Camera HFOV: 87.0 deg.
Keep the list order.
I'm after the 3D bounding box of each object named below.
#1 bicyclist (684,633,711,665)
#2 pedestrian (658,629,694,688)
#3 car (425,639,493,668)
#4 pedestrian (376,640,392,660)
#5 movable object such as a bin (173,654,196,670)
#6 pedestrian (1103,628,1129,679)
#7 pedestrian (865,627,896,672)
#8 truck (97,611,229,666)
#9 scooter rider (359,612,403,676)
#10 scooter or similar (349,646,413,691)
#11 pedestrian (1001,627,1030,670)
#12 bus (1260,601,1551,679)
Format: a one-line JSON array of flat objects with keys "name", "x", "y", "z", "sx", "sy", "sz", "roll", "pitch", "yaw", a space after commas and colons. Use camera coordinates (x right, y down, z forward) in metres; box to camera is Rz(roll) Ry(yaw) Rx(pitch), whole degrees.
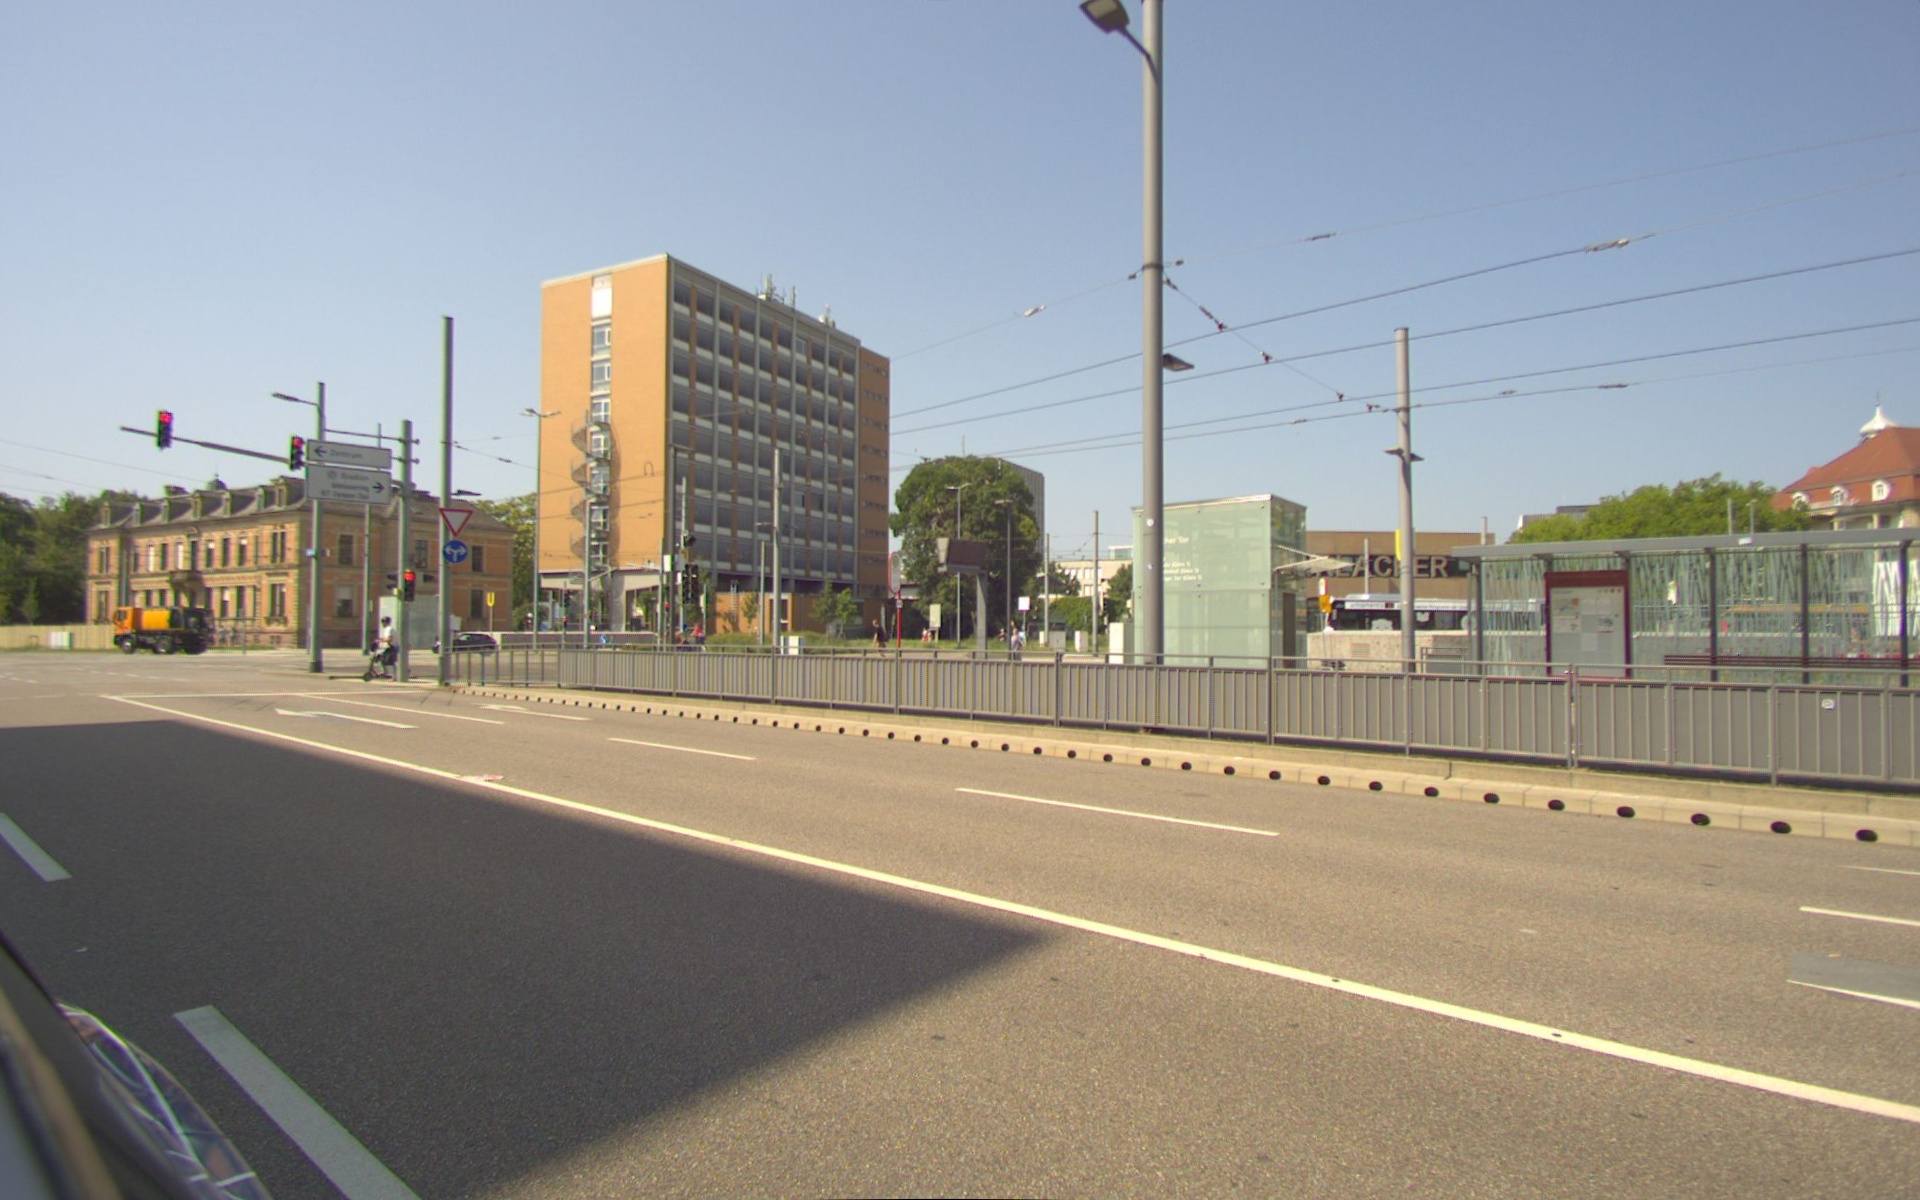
[{"name": "bicyclist", "x": -12.340, "y": 2.311, "z": 47.572, "sx": 0.980, "sy": 1.470, "sz": 0.865, "roll": -2, "pitch": -3, "yaw": 44}, {"name": "pedestrian", "x": -8.164, "y": 1.680, "z": 29.078, "sx": 0.795, "sy": 1.672, "sz": 0.570, "roll": -3, "pitch": -4, "yaw": 22}, {"name": "car", "x": -33.489, "y": 3.577, "z": 67.689, "sx": 3.931, "sy": 1.808, "sz": 2.006, "roll": 0, "pitch": -4, "yaw": -30}, {"name": "pedestrian", "x": -41.700, "y": 3.636, "z": 73.254, "sx": 0.787, "sy": 1.405, "sz": 0.836, "roll": -2, "pitch": -3, "yaw": 43}, {"name": "movable object such as a bin", "x": -54.680, "y": 4.344, "z": 71.331, "sx": 1.022, "sy": 1.093, "sz": 0.822, "roll": -1, "pitch": -3, "yaw": -8}, {"name": "pedestrian", "x": 5.381, "y": 1.840, "z": 34.901, "sx": 0.668, "sy": 1.741, "sz": 0.786, "roll": 0, "pitch": -2, "yaw": -10}, {"name": "pedestrian", "x": -3.234, "y": 1.997, "z": 41.239, "sx": 0.959, "sy": 1.793, "sz": 0.774, "roll": -1, "pitch": -2, "yaw": 43}, {"name": "truck", "x": -52.304, "y": 2.569, "z": 66.459, "sx": 7.120, "sy": 3.254, "sz": 3.029, "roll": -2, "pitch": -4, "yaw": 14}, {"name": "scooter rider", "x": -15.562, "y": 1.169, "z": 27.193, "sx": 0.778, "sy": 1.686, "sz": 0.764, "roll": -2, "pitch": -3, "yaw": 39}, {"name": "scooter or similar", "x": -15.539, "y": 1.833, "z": 27.166, "sx": 0.709, "sy": 1.157, "sz": 1.324, "roll": -2, "pitch": -3, "yaw": 40}, {"name": "pedestrian", "x": 2.359, "y": 2.062, "z": 43.089, "sx": 0.959, "sy": 1.793, "sz": 0.774, "roll": -1, "pitch": -2, "yaw": 43}, {"name": "bus", "x": 20.588, "y": 1.827, "z": 47.045, "sx": 12.563, "sy": 3.356, "sz": 2.680, "roll": -1, "pitch": -2, "yaw": -5}]
